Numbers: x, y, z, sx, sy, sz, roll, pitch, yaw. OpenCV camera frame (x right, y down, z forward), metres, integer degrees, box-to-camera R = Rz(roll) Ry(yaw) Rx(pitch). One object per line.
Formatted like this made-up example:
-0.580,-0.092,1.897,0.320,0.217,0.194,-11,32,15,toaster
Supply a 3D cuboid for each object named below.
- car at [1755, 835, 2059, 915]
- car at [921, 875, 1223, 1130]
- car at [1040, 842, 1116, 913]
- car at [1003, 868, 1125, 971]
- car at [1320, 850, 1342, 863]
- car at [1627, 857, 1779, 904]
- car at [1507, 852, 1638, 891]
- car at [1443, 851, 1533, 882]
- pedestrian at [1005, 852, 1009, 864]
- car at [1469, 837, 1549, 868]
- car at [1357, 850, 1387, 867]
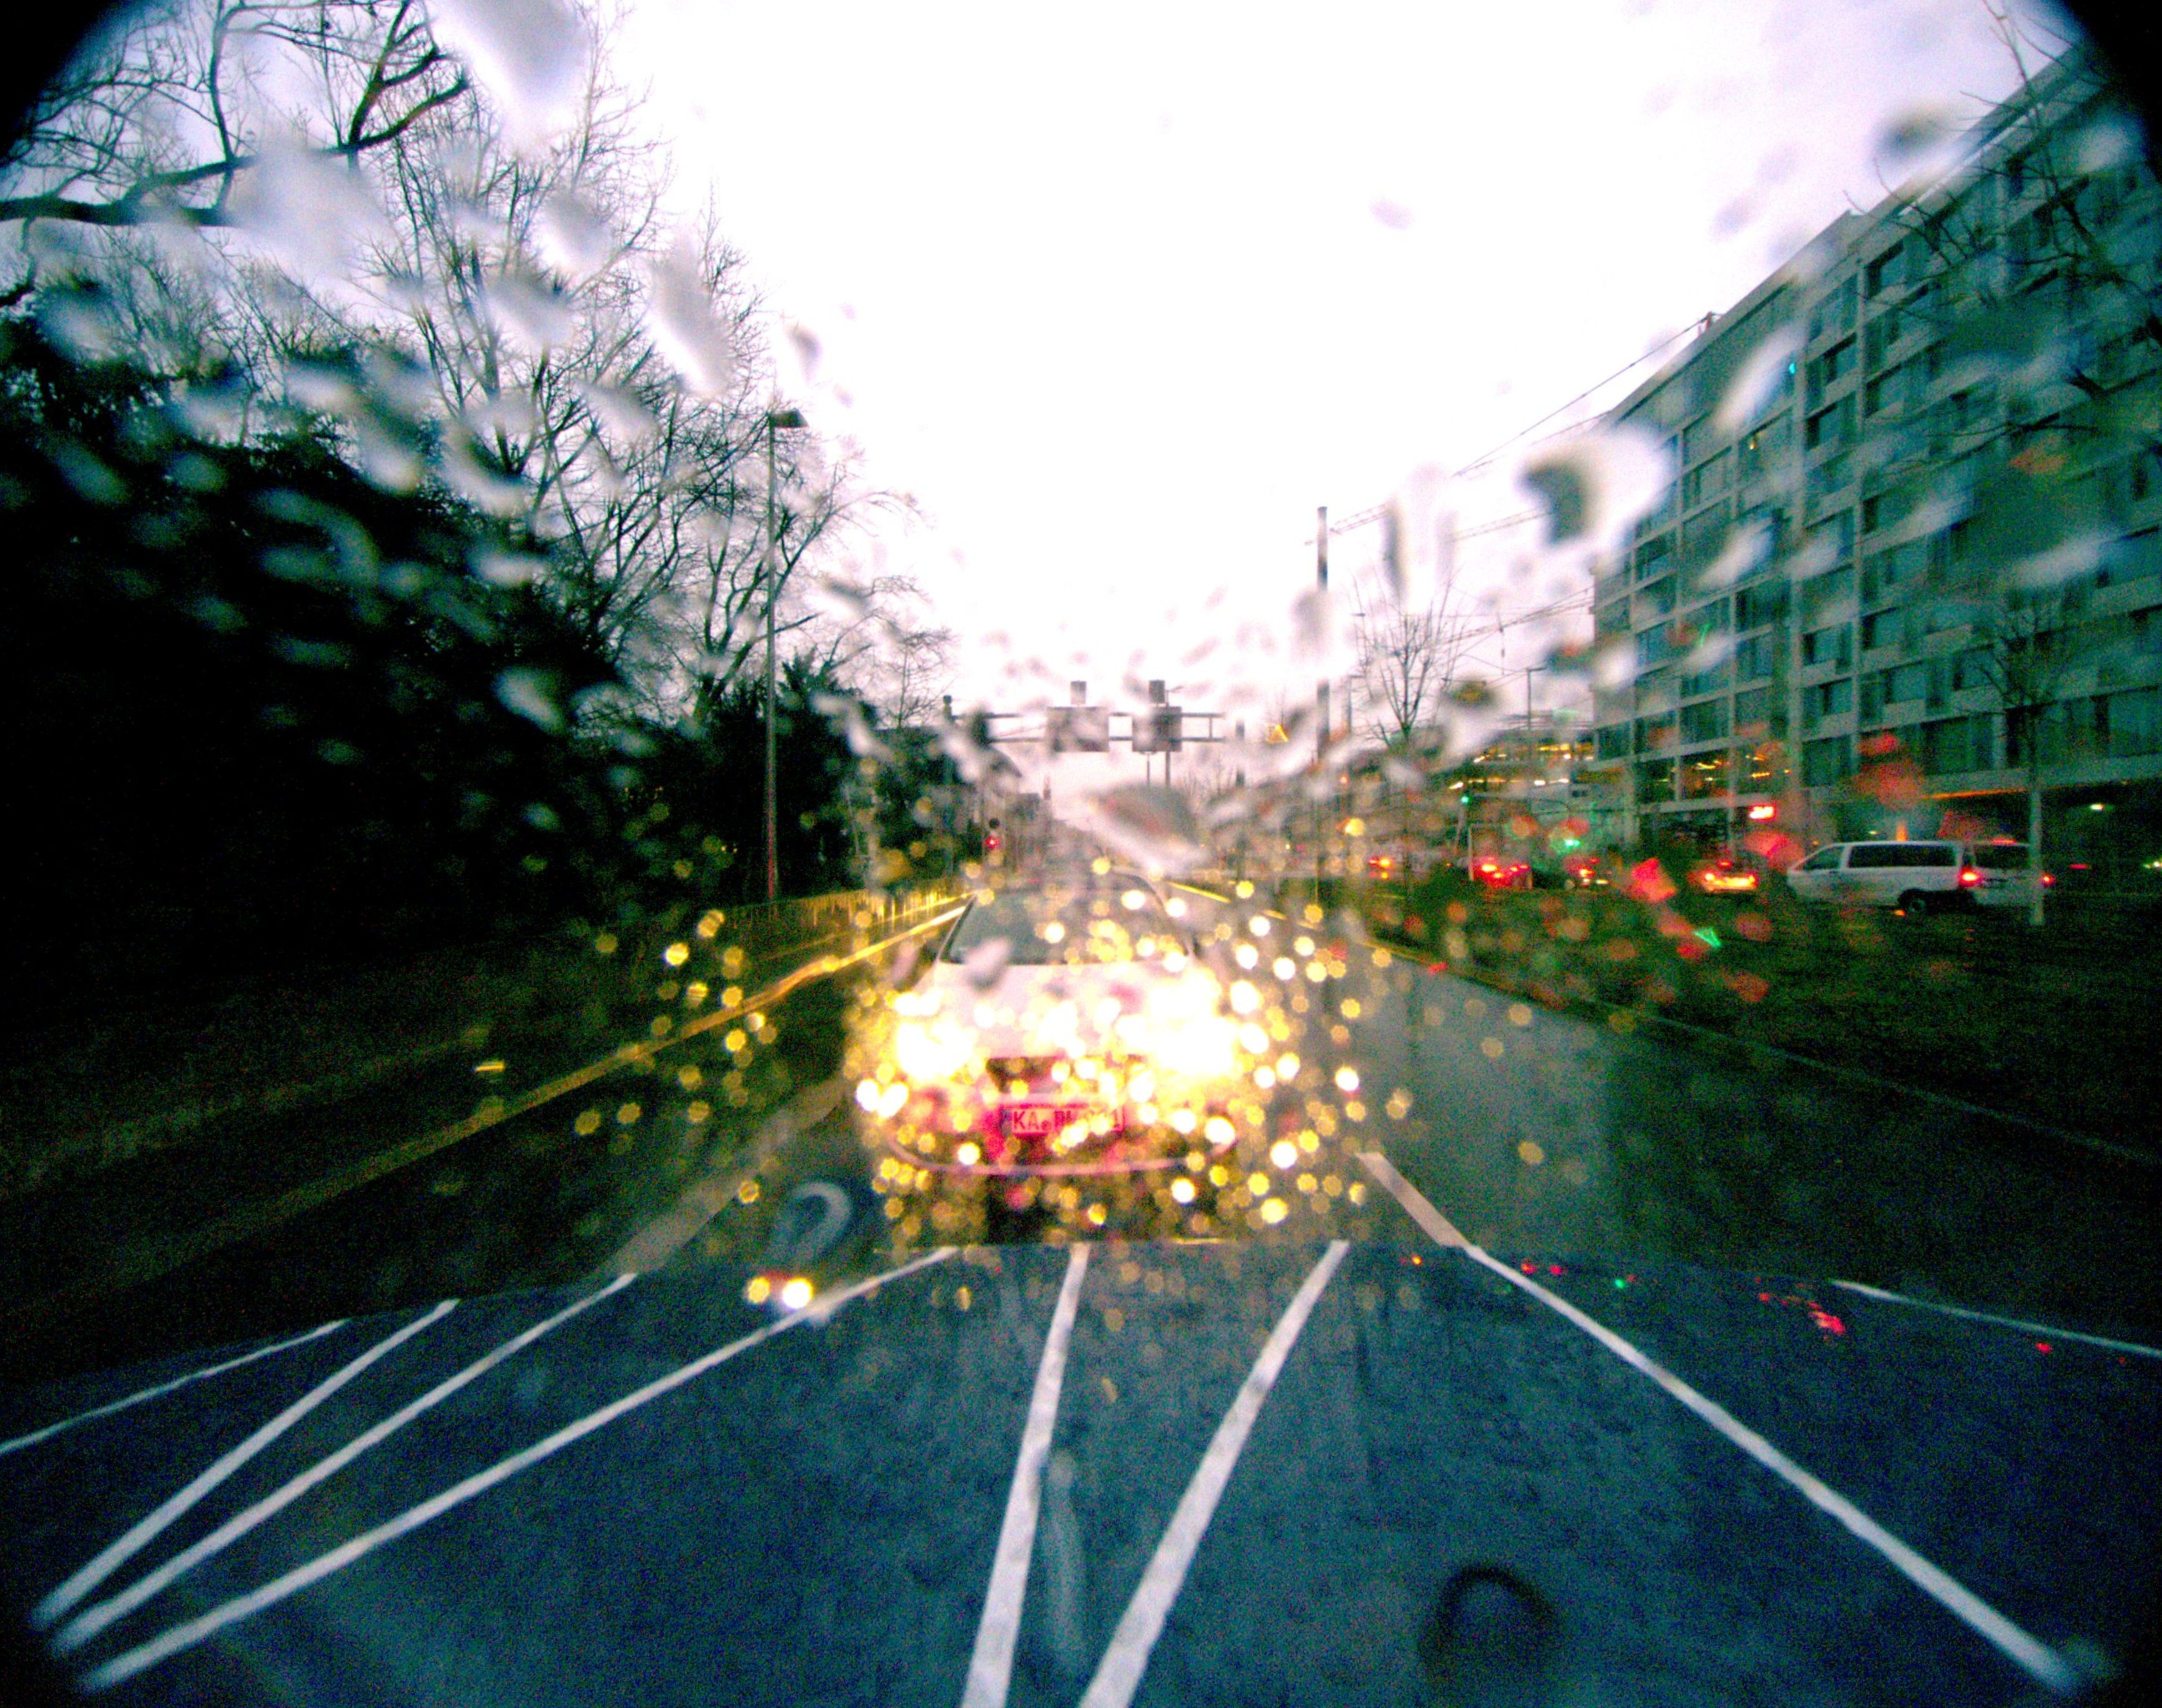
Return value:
19.900,0.445,18.775,1.901,1.709,5.117,0,0,-1,car
-0.054,0.964,6.622,1.798,1.363,3.981,-2,1,0,car
-0.073,0.548,20.362,1.781,1.666,3.981,-2,1,0,car
-0.247,0.985,12.923,1.728,1.318,3.981,-2,1,0,car
34.936,0.301,106.438,1.900,1.709,4.918,0,0,5,car
20.387,0.822,25.121,1.901,1.423,3.706,0,0,-2,car
20.500,0.672,31.920,2.001,1.488,4.444,0,0,-15,car
20.537,0.580,38.635,1.998,1.459,5.034,0,0,1,car
-9.363,0.550,96.021,0.521,1.501,0.588,0,1,1,pedestrian
24.648,-0.087,43.998,1.900,1.709,4.916,0,0,1,car
30.103,0.408,78.671,1.899,1.709,4.919,0,0,8,car
